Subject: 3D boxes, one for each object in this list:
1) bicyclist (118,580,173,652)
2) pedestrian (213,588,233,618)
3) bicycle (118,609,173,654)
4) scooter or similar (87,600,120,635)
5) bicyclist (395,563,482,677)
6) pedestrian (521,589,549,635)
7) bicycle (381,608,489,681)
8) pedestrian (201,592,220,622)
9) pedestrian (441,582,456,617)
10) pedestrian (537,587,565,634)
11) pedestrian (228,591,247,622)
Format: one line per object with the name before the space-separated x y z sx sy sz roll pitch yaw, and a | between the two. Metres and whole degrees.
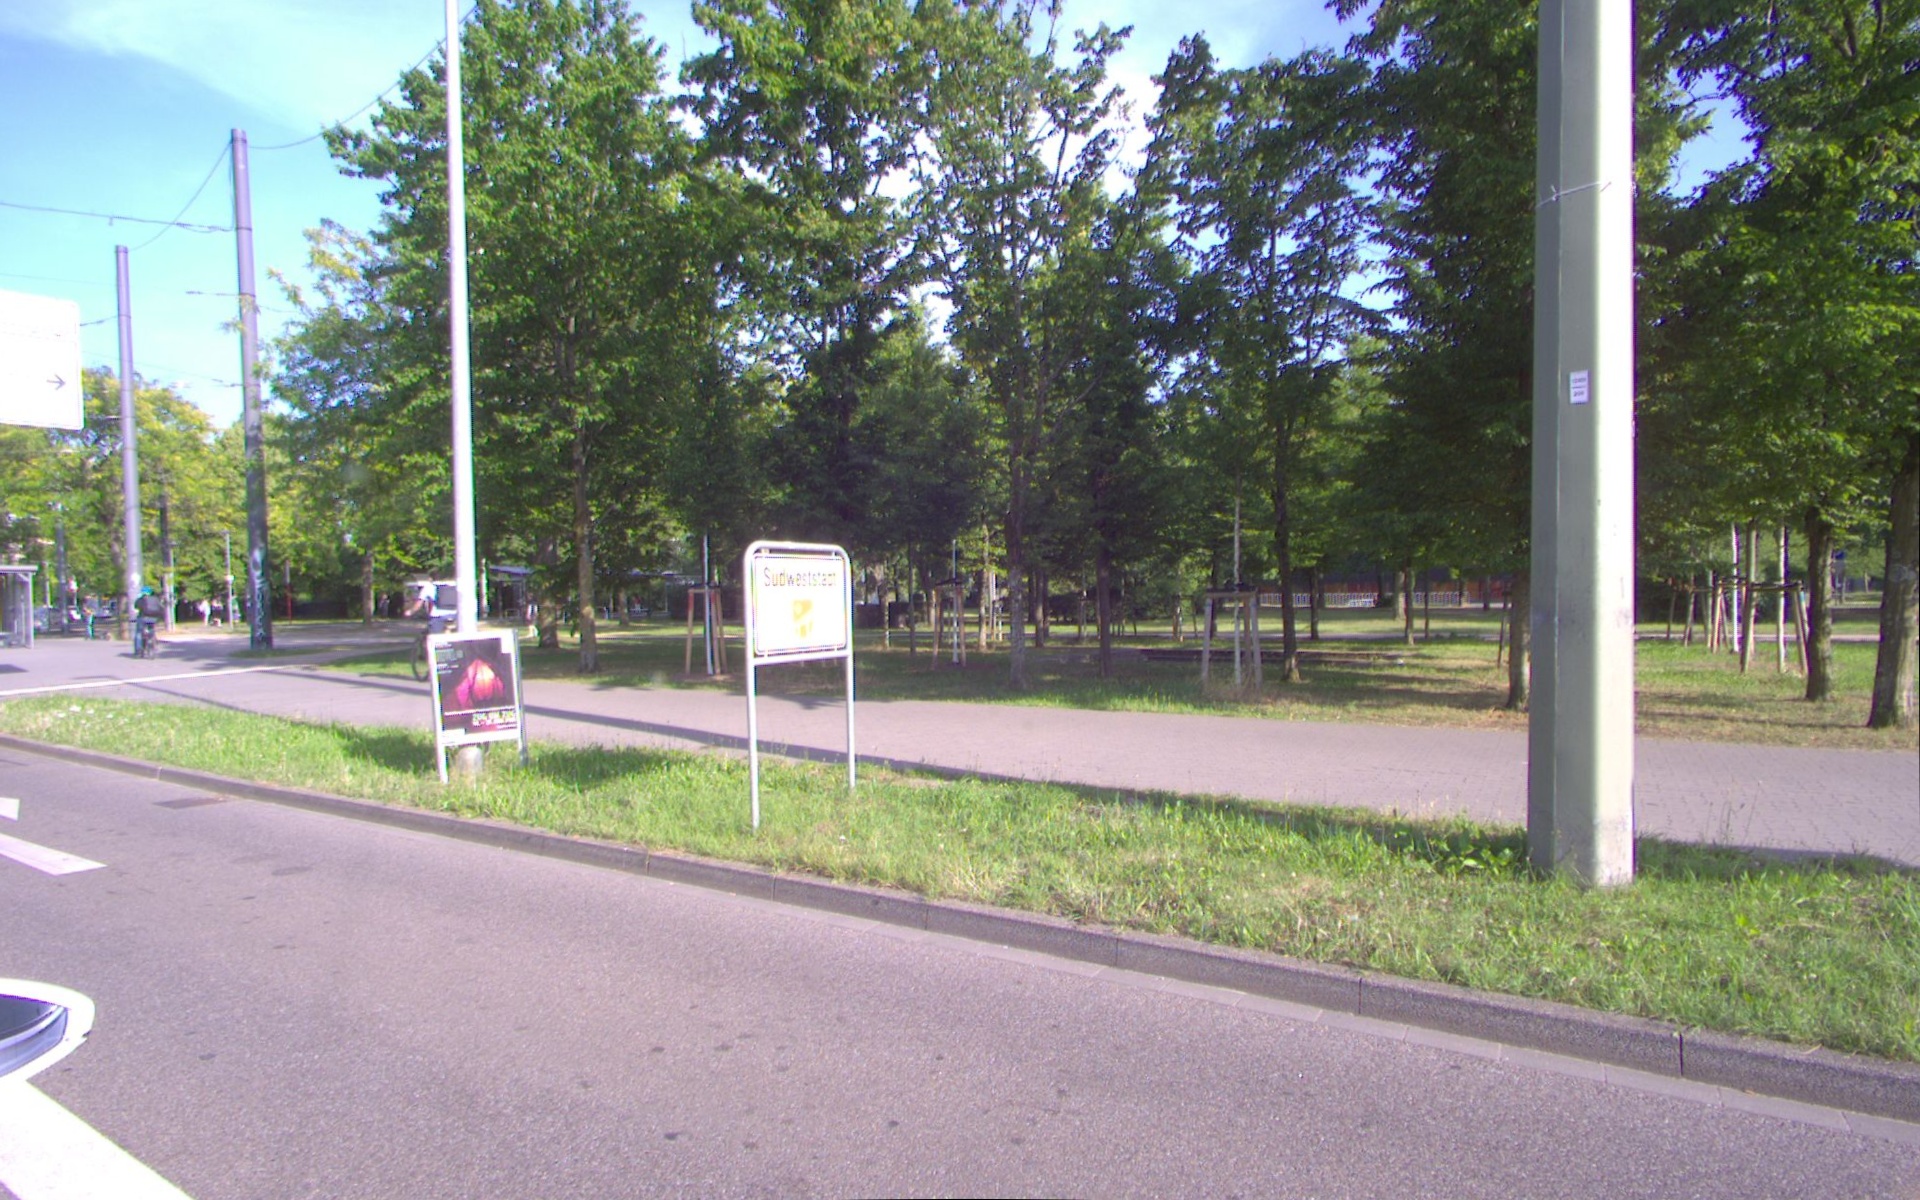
bicyclist | -21.086 0.409 25.923 1.125 1.770 0.717 0 4 36
pedestrian | -40.911 0.169 55.568 0.681 1.688 0.639 0 1 32
bicycle | -21.196 0.809 26.048 1.711 1.103 0.638 0 3 36
scooter or similar | -31.433 0.636 36.744 1.115 1.248 0.351 0 1 18
bicyclist | -8.446 0.319 16.224 1.123 1.770 0.647 -1 4 31
pedestrian | -17.036 0.495 40.139 0.867 1.800 0.670 0 -1 33
bicycle | -8.575 0.701 16.335 1.912 1.103 0.639 -1 3 32
pedestrian | -41.762 0.373 55.783 0.681 1.632 0.639 0 1 32
pedestrian | -28.145 -0.015 55.095 0.594 1.891 0.462 0 -1 3
pedestrian | -16.752 0.431 41.030 0.868 1.922 0.670 0 -1 33
pedestrian | -39.797 0.351 55.166 0.681 1.688 0.639 0 1 32
